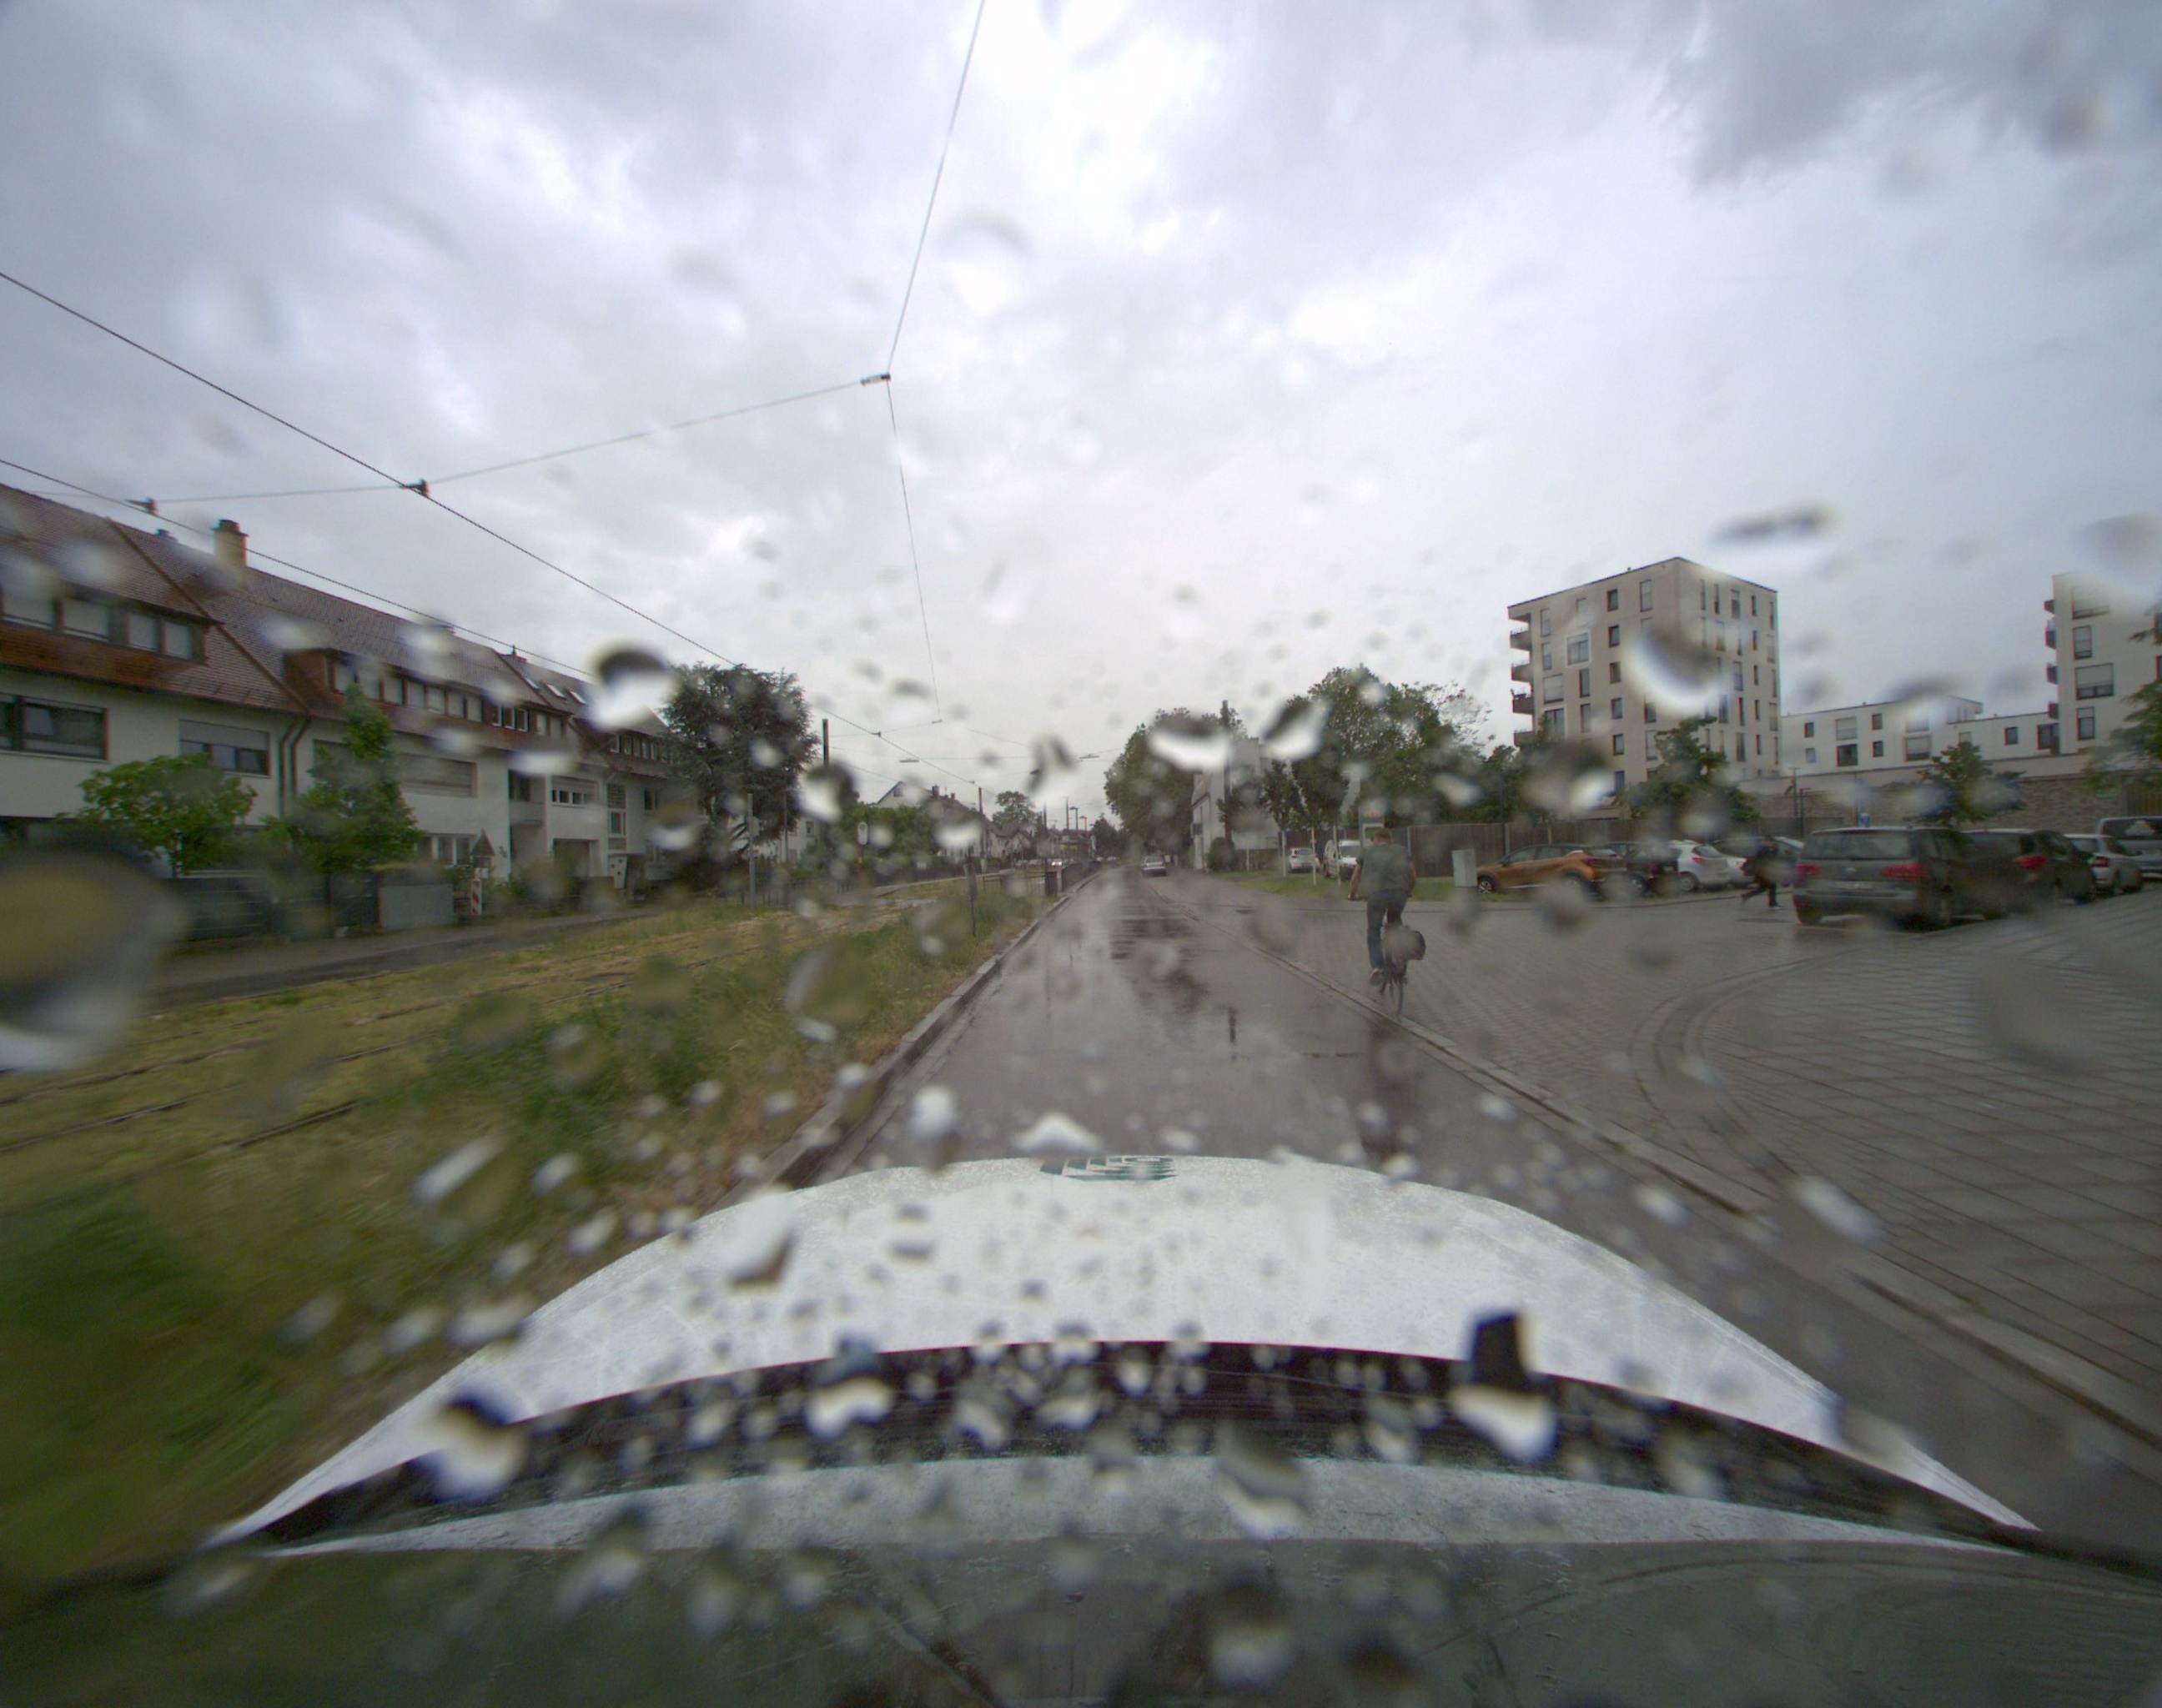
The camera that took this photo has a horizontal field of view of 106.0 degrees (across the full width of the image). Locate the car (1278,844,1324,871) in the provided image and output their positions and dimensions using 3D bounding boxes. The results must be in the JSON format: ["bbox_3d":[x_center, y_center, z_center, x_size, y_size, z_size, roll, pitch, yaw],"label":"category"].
[{"bbox_3d":[13.148,0.197,48.909,1.954,1.535,4.369,-1,0,5],"label":"car"}]

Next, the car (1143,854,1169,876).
[{"bbox_3d":[5.450,0.790,59.728,1.643,1.405,4.653,-5,-1,4],"label":"car"}]

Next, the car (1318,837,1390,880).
[{"bbox_3d":[12.171,0.176,36.644,1.954,1.784,4.903,-1,0,5],"label":"car"}]

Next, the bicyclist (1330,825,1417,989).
[{"bbox_3d":[2.925,0.508,8.199,0.533,1.559,0.771,-1,-1,-5],"label":"bicyclist"}]

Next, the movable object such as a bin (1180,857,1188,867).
[{"bbox_3d":[10.783,0.862,85.008,0.689,1.022,0.825,-4,-1,2],"label":"movable object such as a bin"}]

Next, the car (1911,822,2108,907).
[{"bbox_3d":[18.761,0.181,16.436,4.124,1.533,1.798,0,0,-29],"label":"car"}]

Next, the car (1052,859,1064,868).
[{"bbox_3d":[-4.066,1.662,143.652,1.626,1.493,4.004,-1,-1,4],"label":"car"}]

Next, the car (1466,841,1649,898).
[{"bbox_3d":[13.192,0.432,22.802,2.004,1.441,3.965,0,-1,-26],"label":"car"}]

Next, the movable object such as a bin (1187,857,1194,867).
[{"bbox_3d":[11.325,0.845,84.273,0.534,1.022,0.739,-4,-1,3],"label":"movable object such as a bin"}]

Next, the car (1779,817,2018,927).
[{"bbox_3d":[13.786,0.252,13.697,4.124,1.616,1.798,0,0,-29],"label":"car"}]

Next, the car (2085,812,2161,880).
[{"bbox_3d":[31.857,-0.230,24.196,4.291,1.918,1.975,0,0,-31],"label":"car"}]

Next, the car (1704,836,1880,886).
[{"bbox_3d":[25.098,0.215,28.910,1.977,1.609,4.319,-1,0,-32],"label":"car"}]

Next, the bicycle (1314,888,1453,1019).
[{"bbox_3d":[2.946,0.919,8.155,0.535,1.093,1.945,-1,-1,-4],"label":"bicycle"}]

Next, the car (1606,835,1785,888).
[{"bbox_3d":[20.228,0.213,27.003,1.977,1.586,4.319,-1,0,-32],"label":"car"}]

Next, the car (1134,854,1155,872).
[{"bbox_3d":[5.902,0.861,75.828,1.799,1.467,3.797,-5,-1,4],"label":"car"}]

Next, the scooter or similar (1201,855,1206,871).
[{"bbox_3d":[8.760,0.653,58.425,0.331,1.085,1.399,-1,-1,9],"label":"scooter or similar"}]

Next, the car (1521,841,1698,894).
[{"bbox_3d":[15.576,0.399,24.234,2.004,1.441,3.965,0,-1,-26],"label":"car"}]

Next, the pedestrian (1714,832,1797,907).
[{"bbox_3d":[14.226,0.322,17.188,0.840,1.517,1.085,0,-1,-28],"label":"pedestrian"}]

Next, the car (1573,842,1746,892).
[{"bbox_3d":[18.101,0.410,25.682,2.004,1.441,3.965,0,-1,-26],"label":"car"}]

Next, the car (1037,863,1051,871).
[{"bbox_3d":[-6.812,2.419,149.850,1.918,1.486,4.007,-1,-1,7],"label":"car"}]

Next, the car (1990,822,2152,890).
[{"bbox_3d":[23.566,0.039,19.376,3.807,1.475,1.798,0,0,-29],"label":"car"}]
